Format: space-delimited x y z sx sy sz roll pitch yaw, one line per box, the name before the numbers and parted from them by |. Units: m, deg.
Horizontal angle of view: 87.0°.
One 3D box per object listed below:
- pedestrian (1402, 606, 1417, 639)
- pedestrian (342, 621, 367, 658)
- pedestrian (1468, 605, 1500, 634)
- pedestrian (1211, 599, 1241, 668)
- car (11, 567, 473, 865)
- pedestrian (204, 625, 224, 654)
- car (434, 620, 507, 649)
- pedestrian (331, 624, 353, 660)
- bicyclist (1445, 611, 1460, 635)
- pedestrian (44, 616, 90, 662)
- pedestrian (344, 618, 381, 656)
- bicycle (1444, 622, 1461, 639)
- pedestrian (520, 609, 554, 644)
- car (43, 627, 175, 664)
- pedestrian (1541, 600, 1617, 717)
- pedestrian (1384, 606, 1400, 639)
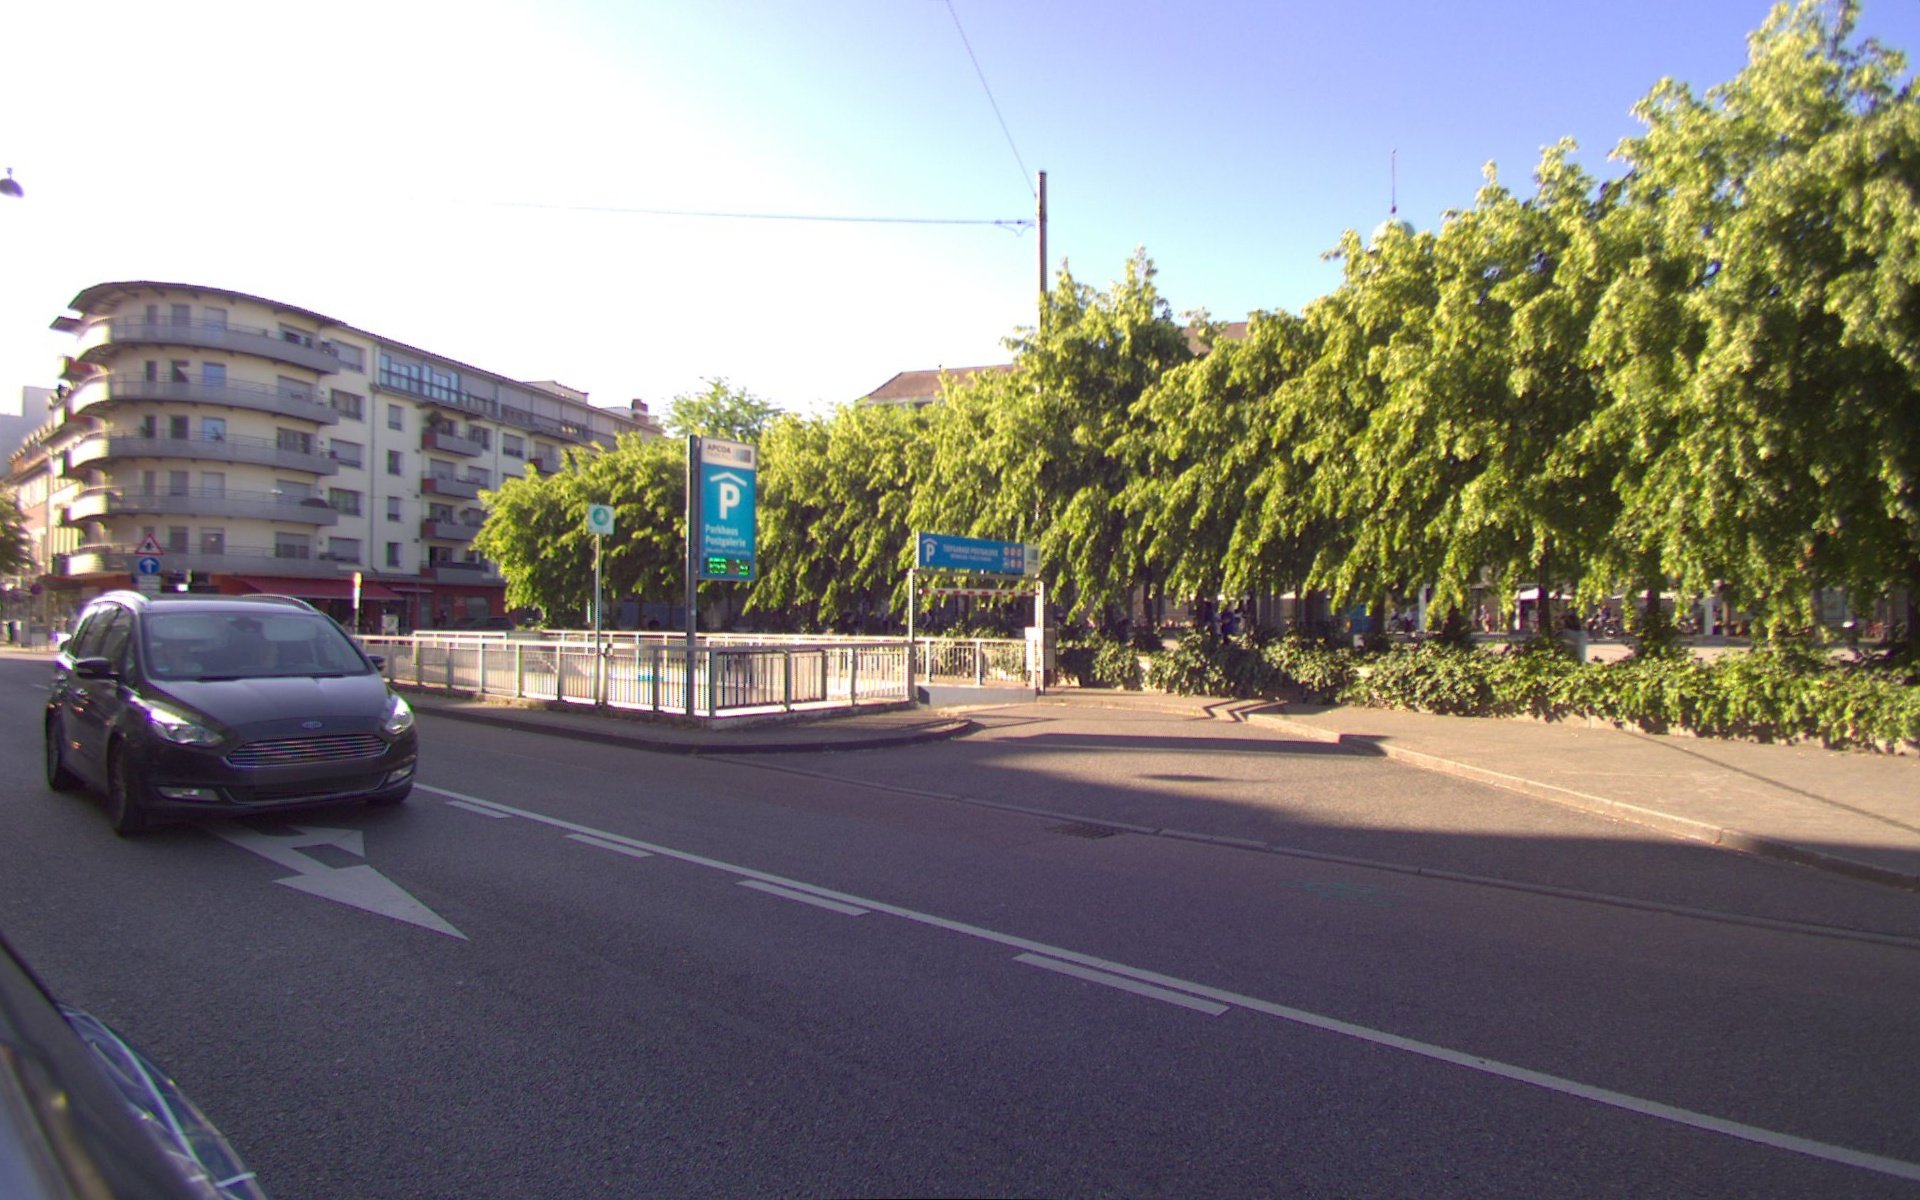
pedestrian | 26.701 1.312 60.141 0.751 1.948 0.938 -1 -1 20
pedestrian | -29.894 1.951 49.988 0.751 1.819 0.750 -1 -1 18
pedestrian | 35.011 1.306 67.621 1.431 1.926 1.257 -1 -1 0
pedestrian | 6.587 0.826 25.115 0.672 1.683 0.843 -1 -1 13
car | -6.101 0.754 8.359 4.724 1.785 1.973 -1 -2 40
pedestrian | -37.727 1.990 51.203 0.780 1.472 0.583 0 -1 -40
car | -30.514 2.134 63.204 1.983 1.763 3.977 -1 -1 17
pedestrian | -30.142 2.026 49.361 0.697 1.719 0.667 -1 -1 33
bicyclist | 29.917 1.380 61.458 0.673 1.439 0.689 -1 -1 40
pedestrian | -40.745 1.760 46.196 1.008 2.029 1.198 -1 0 4
pedestrian | -32.862 2.012 55.650 1.251 2.029 1.226 -1 -1 19
bicycle | 29.900 1.845 61.437 0.588 0.961 1.882 -1 -1 38
pedestrian | -24.700 1.530 59.077 1.286 2.029 1.310 -1 -1 21
car | -35.369 1.893 42.106 4.198 1.445 1.800 -1 -1 6
pedestrian | 9.776 0.900 15.975 0.885 1.771 0.738 0 -1 -39
pedestrian | 25.801 1.357 60.461 0.751 1.948 0.938 -1 -1 20
